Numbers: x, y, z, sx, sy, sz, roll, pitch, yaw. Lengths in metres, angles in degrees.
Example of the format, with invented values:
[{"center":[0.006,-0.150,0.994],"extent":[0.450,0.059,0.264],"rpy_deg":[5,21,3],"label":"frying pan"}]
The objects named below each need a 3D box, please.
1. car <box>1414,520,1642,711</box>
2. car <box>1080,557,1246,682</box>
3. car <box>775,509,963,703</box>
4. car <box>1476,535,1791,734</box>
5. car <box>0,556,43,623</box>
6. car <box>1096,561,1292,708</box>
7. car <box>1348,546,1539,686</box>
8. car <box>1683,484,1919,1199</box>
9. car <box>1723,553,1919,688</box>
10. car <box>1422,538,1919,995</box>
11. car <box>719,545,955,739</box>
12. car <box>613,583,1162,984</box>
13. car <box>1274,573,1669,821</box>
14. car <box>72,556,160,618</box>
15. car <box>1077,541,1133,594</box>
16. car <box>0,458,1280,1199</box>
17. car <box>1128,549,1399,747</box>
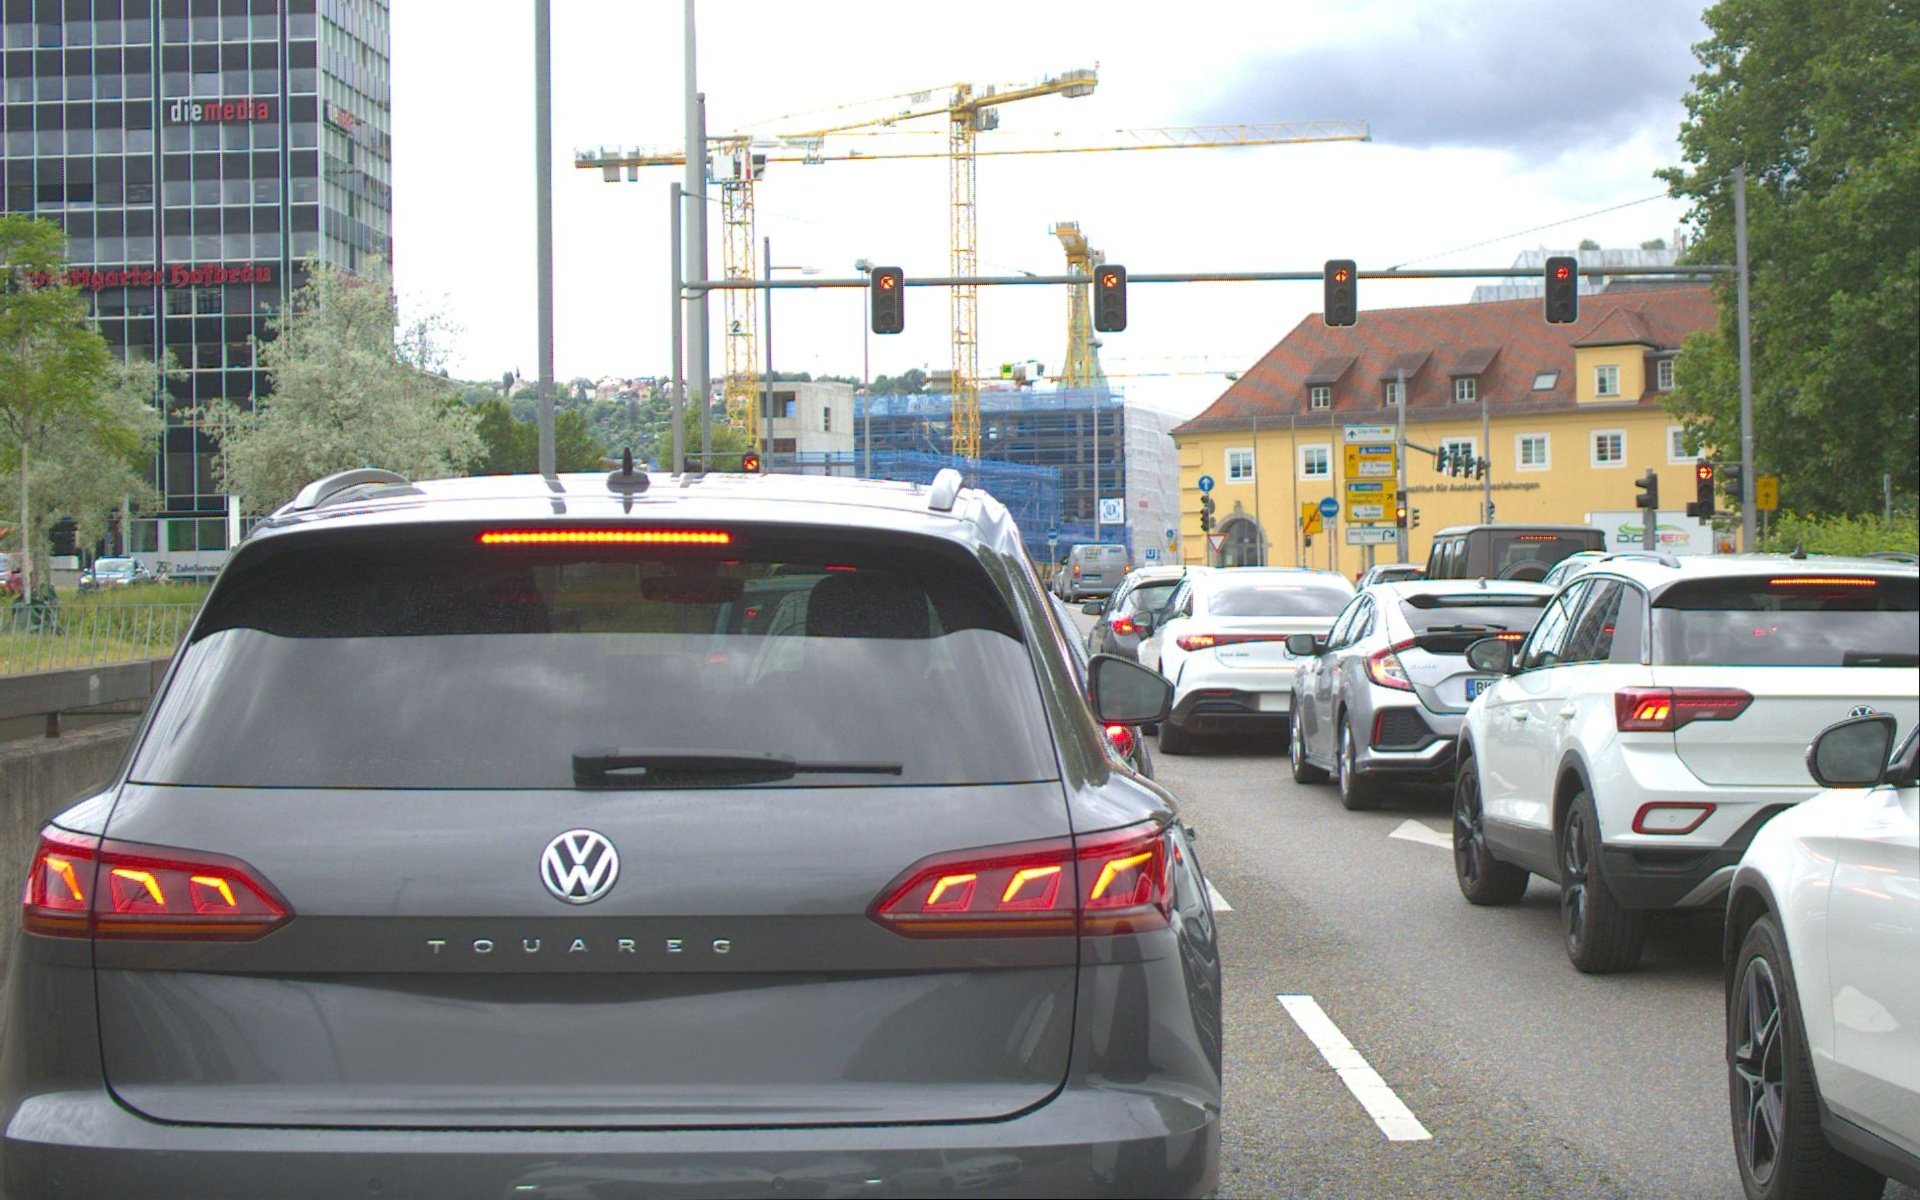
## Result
[{"center":[6.392,0.161,39.111],"extent":[1.910,2.007,4.012],"rpy_deg":[1,0,0],"label":"car"},{"center":[2.555,0.233,44.031],"extent":[1.926,1.524,4.047],"rpy_deg":[0,0,1],"label":"car"},{"center":[-0.998,0.040,38.559],"extent":[1.951,2.011,3.931],"rpy_deg":[1,1,-1],"label":"car"},{"center":[6.250,0.261,32.415],"extent":[1.993,1.634,4.305],"rpy_deg":[0,2,-2],"label":"car"},{"center":[-30.080,-0.336,106.656],"extent":[1.993,2.007,4.691],"rpy_deg":[1,-1,0],"label":"car"},{"center":[2.511,0.354,37.744],"extent":[1.926,1.524,4.047],"rpy_deg":[0,0,1],"label":"car"},{"center":[6.228,0.193,44.691],"extent":[1.910,1.691,4.012],"rpy_deg":[1,0,0],"label":"car"},{"center":[2.716,0.614,6.185],"extent":[1.926,1.648,4.490],"rpy_deg":[0,1,1],"label":"car"},{"center":[10.217,0.249,40.060],"extent":[1.931,1.455,4.526],"rpy_deg":[1,0,4],"label":"car"},{"center":[3.117,0.565,13.935],"extent":[1.926,1.545,4.489],"rpy_deg":[0,0,1],"label":"car"},{"center":[-1.069,0.335,31.026],"extent":[1.951,1.594,3.931],"rpy_deg":[1,1,-1],"label":"car"},{"center":[-0.290,0.654,14.399],"extent":[1.951,1.379,3.931],"rpy_deg":[1,1,-1],"label":"car"},{"center":[3.174,0.560,22.198],"extent":[1.926,1.427,4.489],"rpy_deg":[0,0,1],"label":"car"},{"center":[-29.712,-0.484,121.112],"extent":[1.993,2.006,4.692],"rpy_deg":[0,2,-1],"label":"car"},{"center":[4.676,-1.040,111.409],"extent":[1.619,1.622,4.000],"rpy_deg":[1,-1,0],"label":"car"},{"center":[-0.573,0.610,6.661],"extent":[1.951,1.646,4.000],"rpy_deg":[0,1,-1],"label":"car"},{"center":[2.465,0.368,28.923],"extent":[1.926,1.524,4.489],"rpy_deg":[0,0,1],"label":"car"}]
